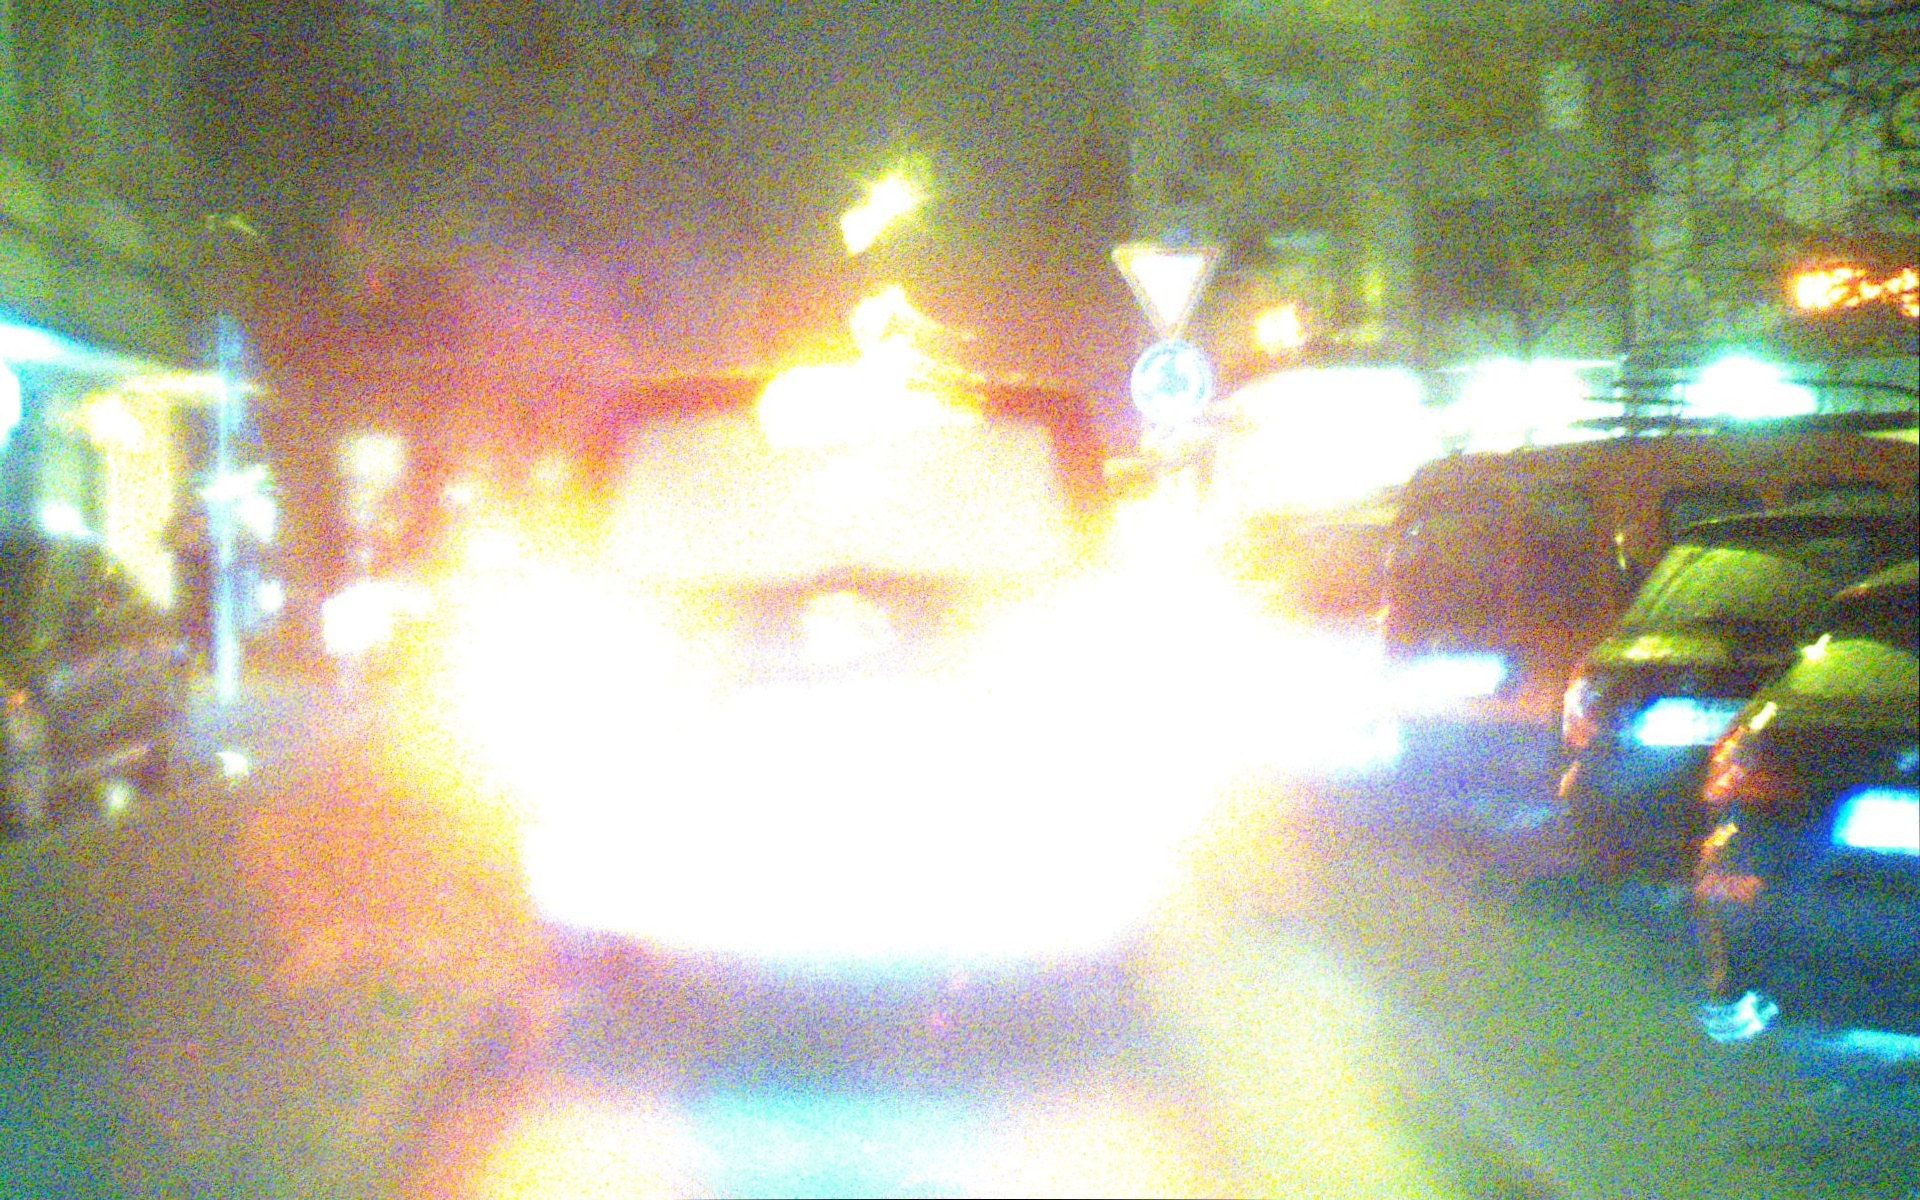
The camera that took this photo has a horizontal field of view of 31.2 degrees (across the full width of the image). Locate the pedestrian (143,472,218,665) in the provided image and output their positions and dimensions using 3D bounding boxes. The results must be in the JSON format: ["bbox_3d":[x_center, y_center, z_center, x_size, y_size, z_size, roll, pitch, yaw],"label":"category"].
[{"bbox_3d":[-7.747,-0.316,34.179,0.660,1.897,0.539,0,1,-5],"label":"pedestrian"}]

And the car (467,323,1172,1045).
[{"bbox_3d":[-0.426,0.218,11.773,1.993,2.043,4.000,0,1,-1],"label":"car"}]

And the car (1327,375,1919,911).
[{"bbox_3d":[3.450,0.090,14.567,3.555,1.984,1.605,-4,1,-37],"label":"car"}]

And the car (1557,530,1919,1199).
[{"bbox_3d":[3.410,0.508,8.709,3.555,1.448,1.672,-4,1,-36],"label":"car"}]

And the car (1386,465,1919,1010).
[{"bbox_3d":[3.651,0.313,12.173,3.988,1.582,1.880,-4,2,-36],"label":"car"}]

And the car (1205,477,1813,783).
[{"bbox_3d":[3.409,0.131,21.127,3.559,1.727,1.689,-1,2,-37],"label":"car"}]

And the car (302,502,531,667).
[{"bbox_3d":[-5.798,-0.205,37.095,1.883,1.679,4.000,0,1,-1],"label":"car"}]

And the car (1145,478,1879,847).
[{"bbox_3d":[2.850,0.259,17.441,3.555,1.585,1.605,-4,2,-37],"label":"car"}]

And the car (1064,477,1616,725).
[{"bbox_3d":[2.936,-0.037,26.273,3.988,1.755,1.880,-1,2,-37],"label":"car"}]

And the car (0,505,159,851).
[{"bbox_3d":[-5.297,0.304,17.406,1.812,1.552,4.077,0,1,-4],"label":"car"}]

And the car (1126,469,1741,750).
[{"bbox_3d":[3.268,0.017,23.438,3.988,1.755,1.880,-1,2,-37],"label":"car"}]
